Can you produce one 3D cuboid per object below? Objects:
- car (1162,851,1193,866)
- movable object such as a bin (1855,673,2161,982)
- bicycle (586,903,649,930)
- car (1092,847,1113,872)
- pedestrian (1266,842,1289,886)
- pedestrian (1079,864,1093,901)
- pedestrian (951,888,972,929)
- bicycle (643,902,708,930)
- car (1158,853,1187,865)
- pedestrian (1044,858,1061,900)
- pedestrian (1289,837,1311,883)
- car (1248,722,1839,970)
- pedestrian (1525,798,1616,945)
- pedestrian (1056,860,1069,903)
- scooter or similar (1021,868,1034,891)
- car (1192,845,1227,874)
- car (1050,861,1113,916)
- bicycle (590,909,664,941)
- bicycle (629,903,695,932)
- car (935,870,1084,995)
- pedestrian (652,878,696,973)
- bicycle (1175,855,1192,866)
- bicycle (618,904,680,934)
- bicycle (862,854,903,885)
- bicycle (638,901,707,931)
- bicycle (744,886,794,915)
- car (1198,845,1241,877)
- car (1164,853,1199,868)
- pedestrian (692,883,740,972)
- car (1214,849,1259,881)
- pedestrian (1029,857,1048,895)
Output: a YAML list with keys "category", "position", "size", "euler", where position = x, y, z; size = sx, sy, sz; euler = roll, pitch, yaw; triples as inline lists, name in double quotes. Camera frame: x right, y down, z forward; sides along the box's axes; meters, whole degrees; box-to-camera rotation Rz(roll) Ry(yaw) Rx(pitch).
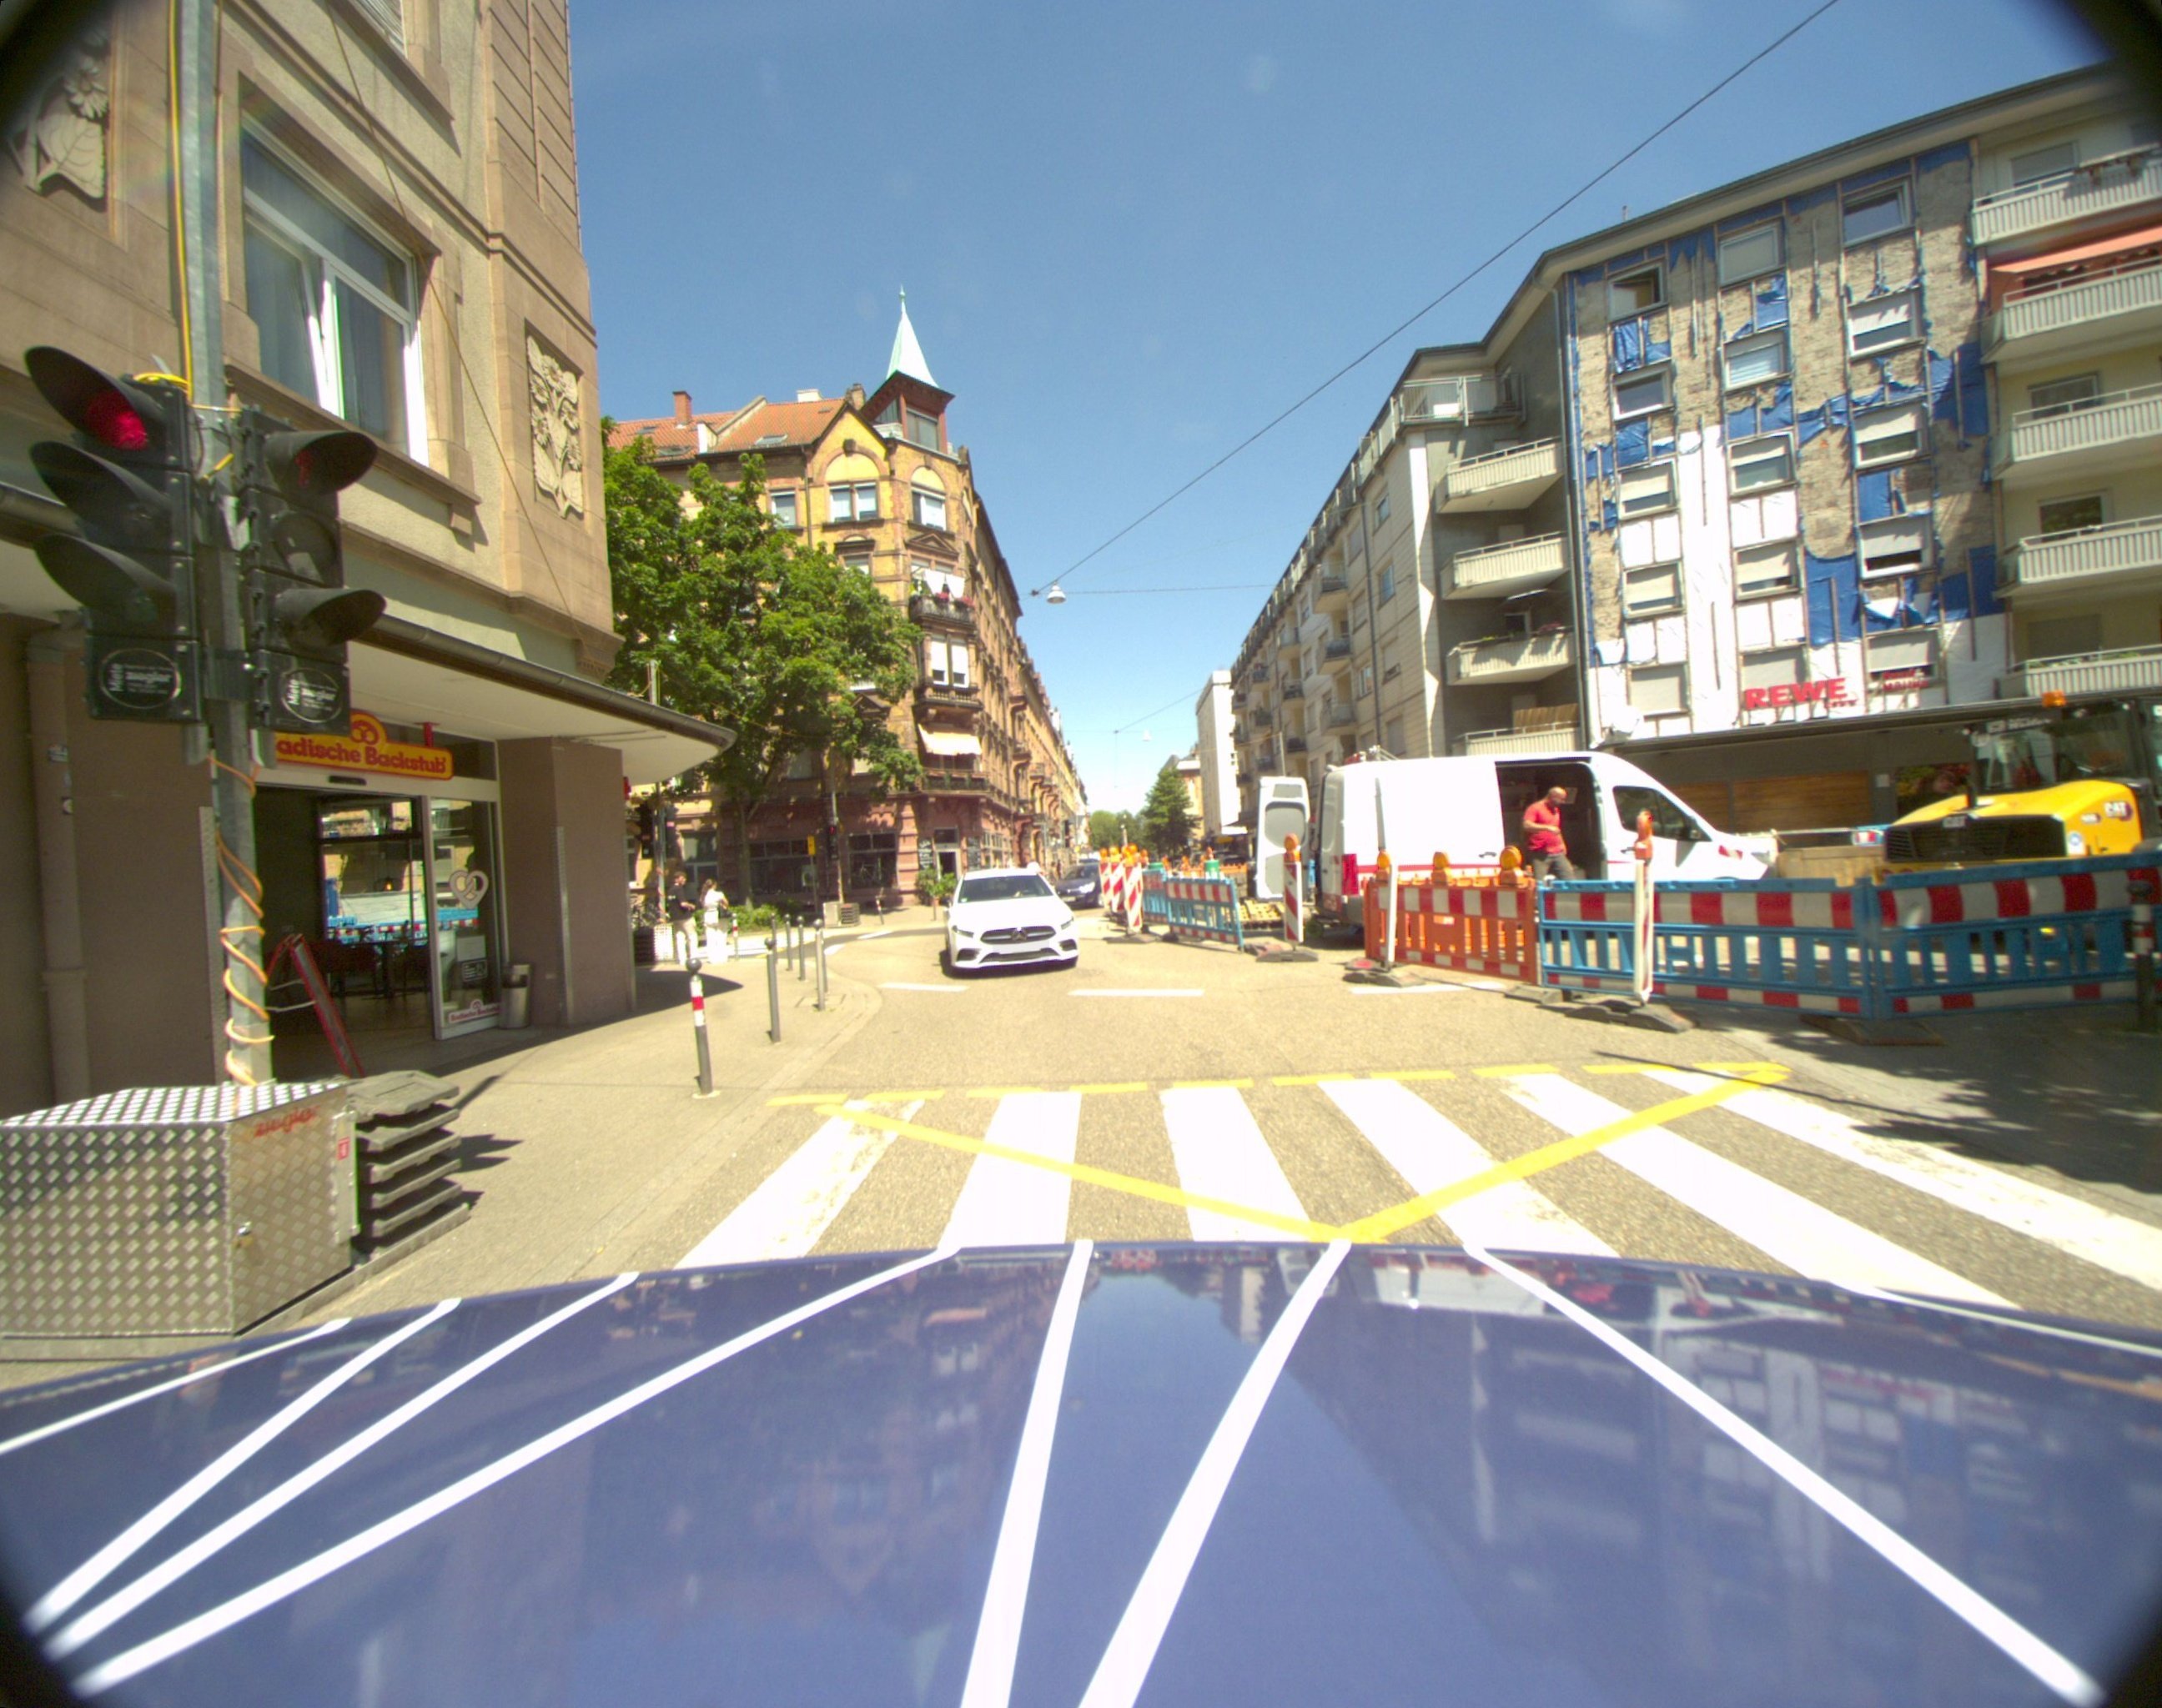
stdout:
- category: "car"
  position: [13.026, 0.577, 102.368]
  size: [3.884, 1.737, 1.652]
  euler: [-4, 0, 2]
- category: "movable object such as a bin"
  position: [11.078, -0.299, 7.760]
  size: [4.557, 2.642, 1.954]
  euler: [-3, -2, -7]
- category: "bicycle"
  position: [-17.184, 2.317, 28.167]
  size: [2.072, 0.867, 0.509]
  euler: [-3, 0, 6]
- category: "car"
  position: [2.540, 0.607, 89.160]
  size: [2.067, 2.686, 5.040]
  euler: [-5, 0, 3]
- category: "pedestrian"
  position: [7.905, 0.401, 30.535]
  size: [0.657, 1.716, 0.632]
  euler: [-4, 0, 0]
- category: "pedestrian"
  position: [0.218, 1.169, 31.267]
  size: [0.494, 1.534, 0.437]
  euler: [-1, 1, 9]
- category: "pedestrian"
  position: [-5.263, 2.387, 33.454]
  size: [0.725, 1.709, 0.495]
  euler: [-3, 2, -43]
- category: "bicycle"
  position: [-14.516, 2.224, 27.228]
  size: [2.072, 0.867, 0.509]
  euler: [-3, 0, 6]
- category: "car"
  position: [13.037, 0.684, 107.864]
  size: [3.884, 1.487, 1.652]
  euler: [-4, 0, 2]
- category: "pedestrian"
  position: [-1.069, 0.957, 28.747]
  size: [0.460, 1.551, 0.479]
  euler: [-3, 0, 9]
- category: "pedestrian"
  position: [7.731, 0.216, 26.797]
  size: [0.496, 1.556, 0.460]
  euler: [-6, -1, 29]
- category: "car"
  position: [5.935, -0.074, 10.640]
  size: [6.636, 2.735, 2.380]
  euler: [-3, 1, 4]
- category: "pedestrian"
  position: [6.180, 0.217, 9.627]
  size: [0.526, 1.743, 0.769]
  euler: [-5, 0, 3]
- category: "pedestrian"
  position: [-0.739, 1.080, 30.226]
  size: [0.333, 1.665, 0.402]
  euler: [-3, 0, 9]
- category: "scooter or similar"
  position: [-2.934, 1.401, 41.694]
  size: [0.293, 1.170, 1.273]
  euler: [-4, 0, 12]
- category: "car"
  position: [9.179, 0.384, 54.684]
  size: [1.793, 1.818, 4.901]
  euler: [-4, 0, 3]
- category: "car"
  position: [0.087, 1.077, 25.208]
  size: [1.780, 1.460, 4.001]
  euler: [-5, 0, 3]
- category: "bicycle"
  position: [-14.333, 2.229, 23.990]
  size: [2.072, 0.867, 0.509]
  euler: [-3, 0, 6]
- category: "bicycle"
  position: [-14.622, 2.213, 26.519]
  size: [2.072, 0.867, 0.509]
  euler: [-3, 0, 6]
- category: "car"
  position: [-1.293, 1.041, 11.848]
  size: [1.815, 1.417, 4.238]
  euler: [-4, 0, -11]
- category: "pedestrian"
  position: [-7.690, 1.341, 14.373]
  size: [0.577, 1.757, 0.471]
  euler: [-1, -3, -5]
- category: "bicycle"
  position: [10.635, 0.675, 78.931]
  size: [1.608, 1.084, 0.371]
  euler: [-5, 0, 8]
- category: "bicycle"
  position: [-14.097, 2.119, 24.788]
  size: [1.743, 0.867, 0.509]
  euler: [-3, 0, 6]
- category: "bicycle"
  position: [-7.862, 0.598, 30.116]
  size: [1.425, 1.145, 0.510]
  euler: [-4, 0, 5]
- category: "bicycle"
  position: [-13.698, 2.084, 25.469]
  size: [2.072, 0.867, 0.509]
  euler: [-3, 0, 6]
- category: "bicycle"
  position: [-12.283, 1.824, 29.937]
  size: [1.695, 1.002, 0.522]
  euler: [-3, 0, 3]
- category: "car"
  position: [8.753, 0.440, 48.334]
  size: [1.793, 1.800, 4.699]
  euler: [-4, 0, 0]
- category: "car"
  position: [11.776, 0.809, 89.459]
  size: [3.884, 1.520, 1.652]
  euler: [-4, 0, 2]
- category: "pedestrian"
  position: [-6.942, 1.385, 14.466]
  size: [0.703, 1.635, 0.423]
  euler: [-1, -3, -5]
- category: "car"
  position: [8.425, 0.584, 41.511]
  size: [1.674, 1.516, 4.465]
  euler: [-5, 0, 3]
- category: "pedestrian"
  position: [-1.980, 1.026, 35.451]
  size: [0.478, 1.723, 0.872]
  euler: [-3, 1, 22]
